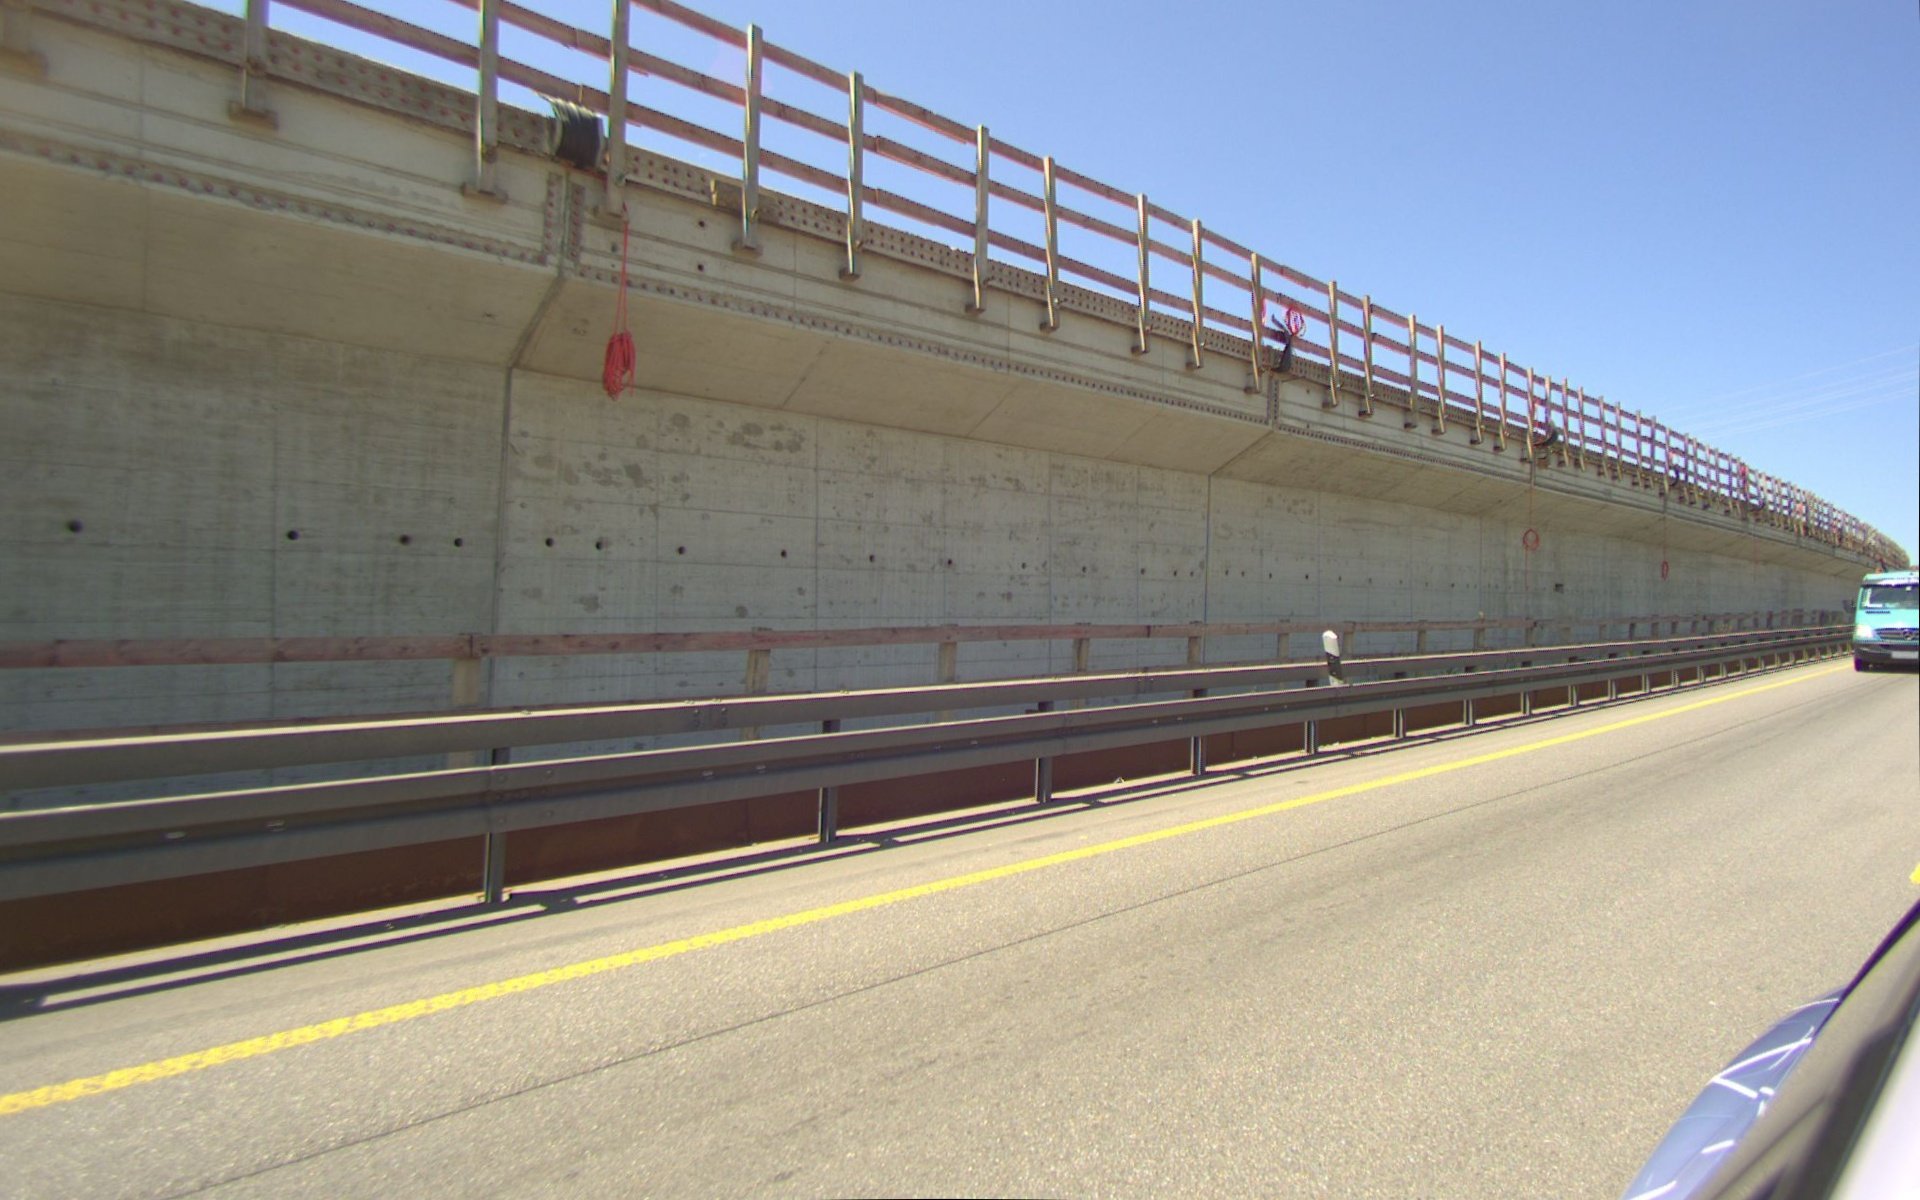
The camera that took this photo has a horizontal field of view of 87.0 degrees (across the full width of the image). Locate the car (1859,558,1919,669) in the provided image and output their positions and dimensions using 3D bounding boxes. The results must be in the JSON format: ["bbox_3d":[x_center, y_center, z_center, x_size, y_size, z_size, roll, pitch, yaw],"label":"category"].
[{"bbox_3d":[23.449,0.269,24.258,7.086,2.411,1.966,0,-2,-42],"label":"car"}]
